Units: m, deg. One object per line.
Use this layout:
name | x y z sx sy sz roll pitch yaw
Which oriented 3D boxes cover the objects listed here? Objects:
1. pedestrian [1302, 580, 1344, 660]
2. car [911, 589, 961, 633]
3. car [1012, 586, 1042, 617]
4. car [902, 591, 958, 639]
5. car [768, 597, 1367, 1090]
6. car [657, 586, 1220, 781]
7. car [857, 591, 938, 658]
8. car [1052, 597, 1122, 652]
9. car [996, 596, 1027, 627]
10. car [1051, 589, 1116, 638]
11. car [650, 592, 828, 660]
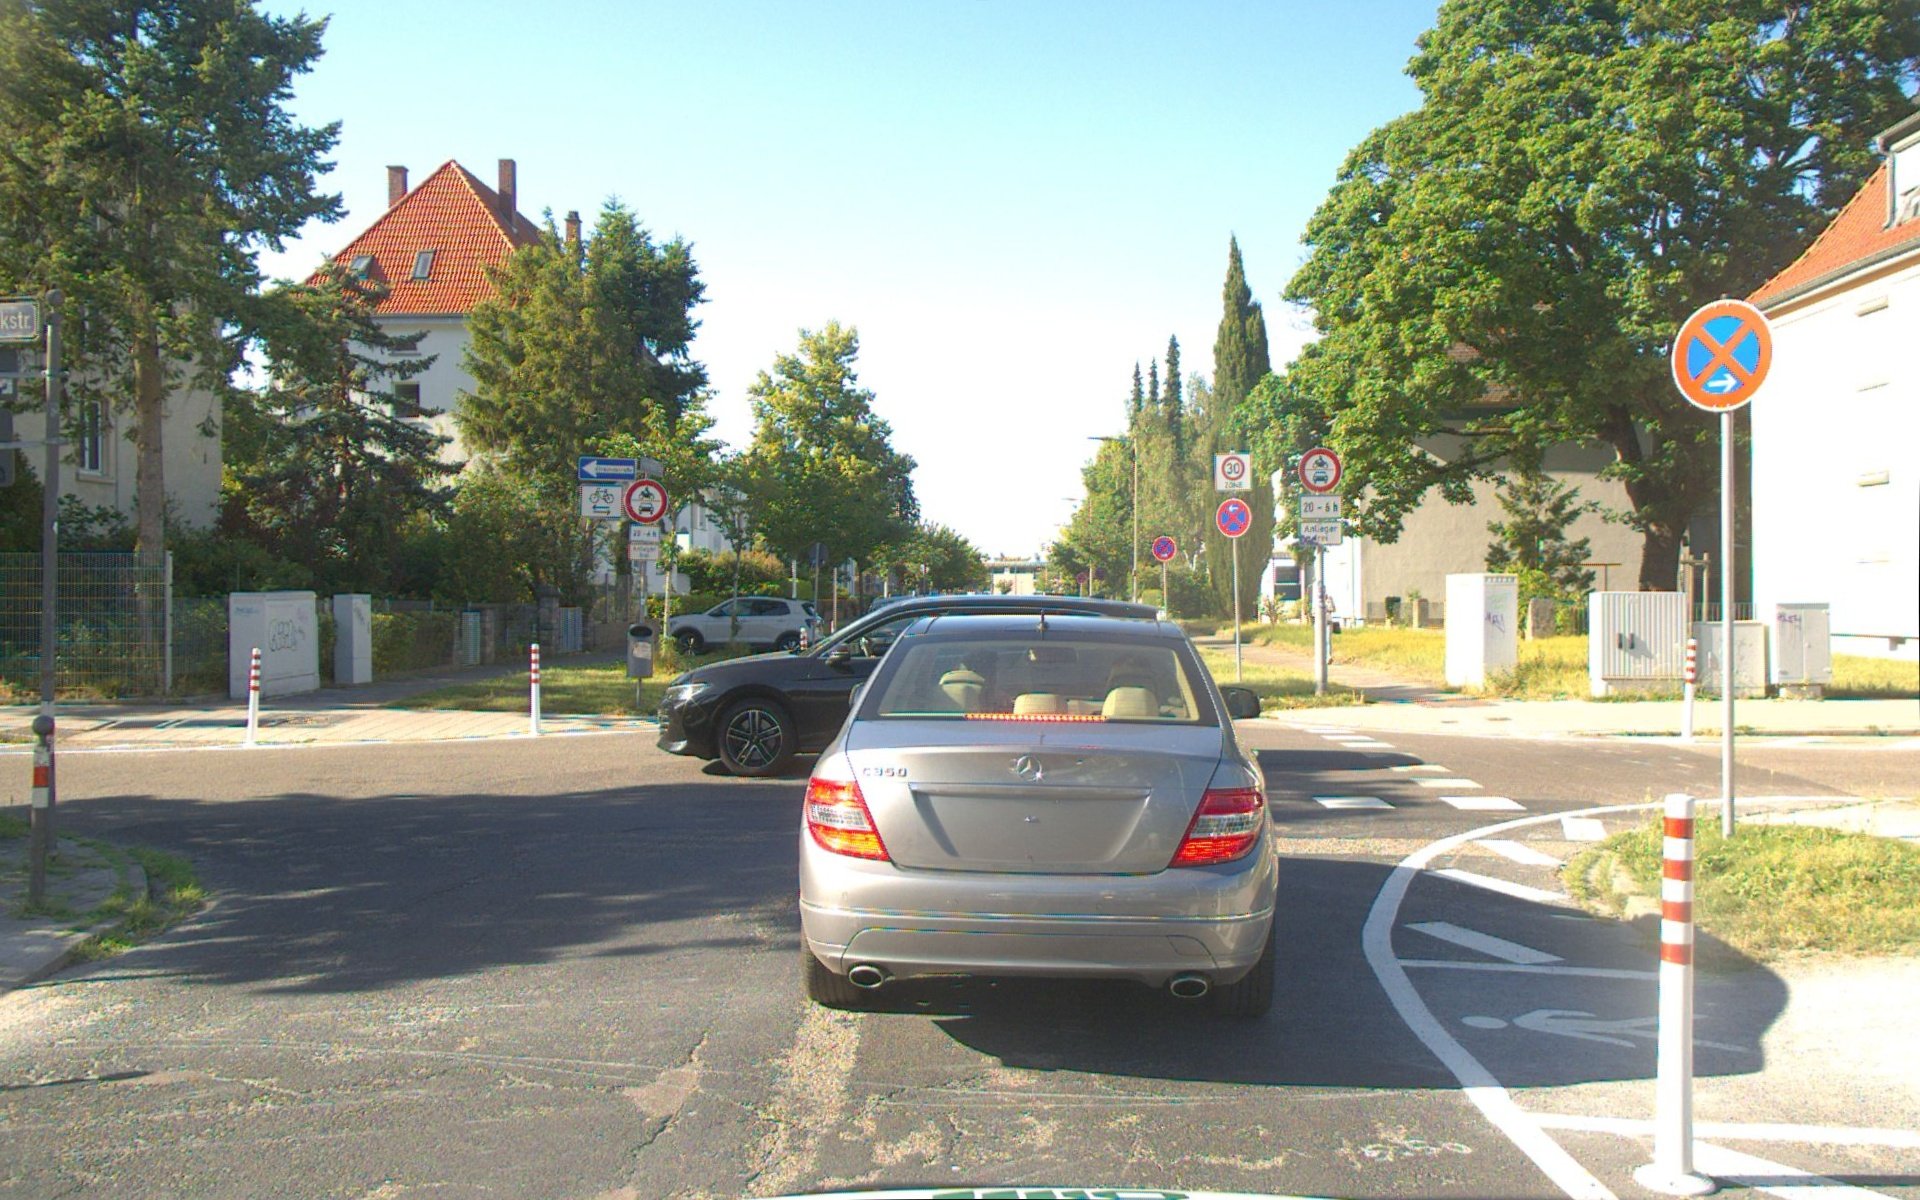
pedestrian | 7.553 0.417 34.457 0.750 1.639 0.835 -1 0 7
car | -0.974 0.444 69.047 1.953 1.637 4.000 -4 0 0
car | 4.165 0.087 103.202 1.816 1.873 4.001 -1 0 1
car | -1.103 0.531 63.254 1.953 1.637 4.000 -4 0 0
car | 0.423 0.725 6.987 1.798 1.466 4.002 0 0 3
car | -0.174 0.681 14.690 4.643 1.551 2.000 -1 0 -1
car | -1.669 0.637 45.448 1.953 1.637 4.000 -4 0 0
car | 3.629 0.670 47.769 1.698 1.505 3.725 -1 0 0
car | 2.810 0.613 90.473 1.564 1.638 3.644 -1 0 0
car | 4.318 0.458 58.374 1.953 1.638 4.000 -1 0 0
car | -5.351 0.622 40.392 4.107 1.591 1.842 0 0 -1
